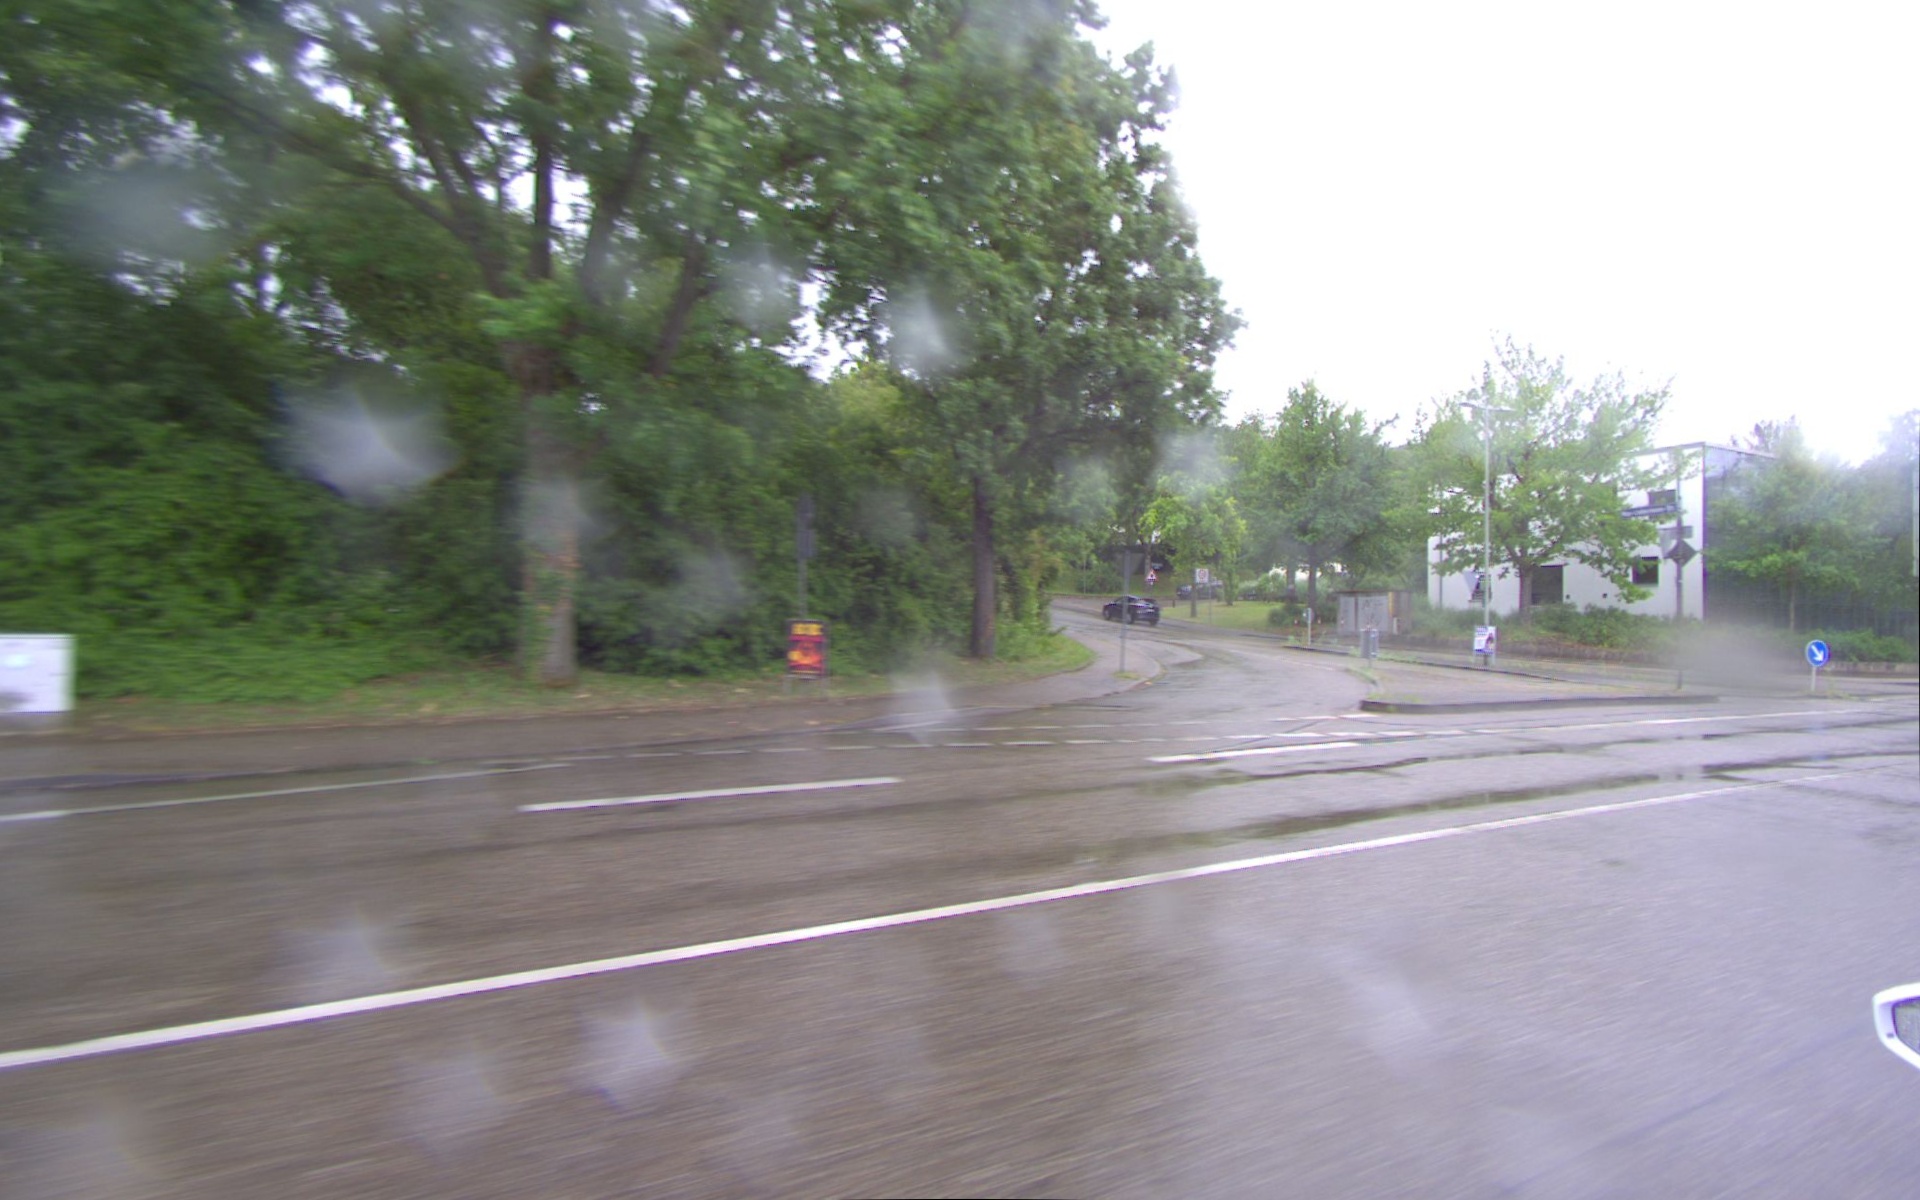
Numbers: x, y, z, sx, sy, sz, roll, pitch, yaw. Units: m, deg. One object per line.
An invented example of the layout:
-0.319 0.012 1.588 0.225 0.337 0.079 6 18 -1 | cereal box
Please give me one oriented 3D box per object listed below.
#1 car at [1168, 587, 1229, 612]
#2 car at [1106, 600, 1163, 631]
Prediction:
19.093 -0.014 80.502 4.316 1.786 1.997 2 2 -9 | car
10.346 0.892 59.845 1.771 1.786 3.986 1 0 -16 | car
